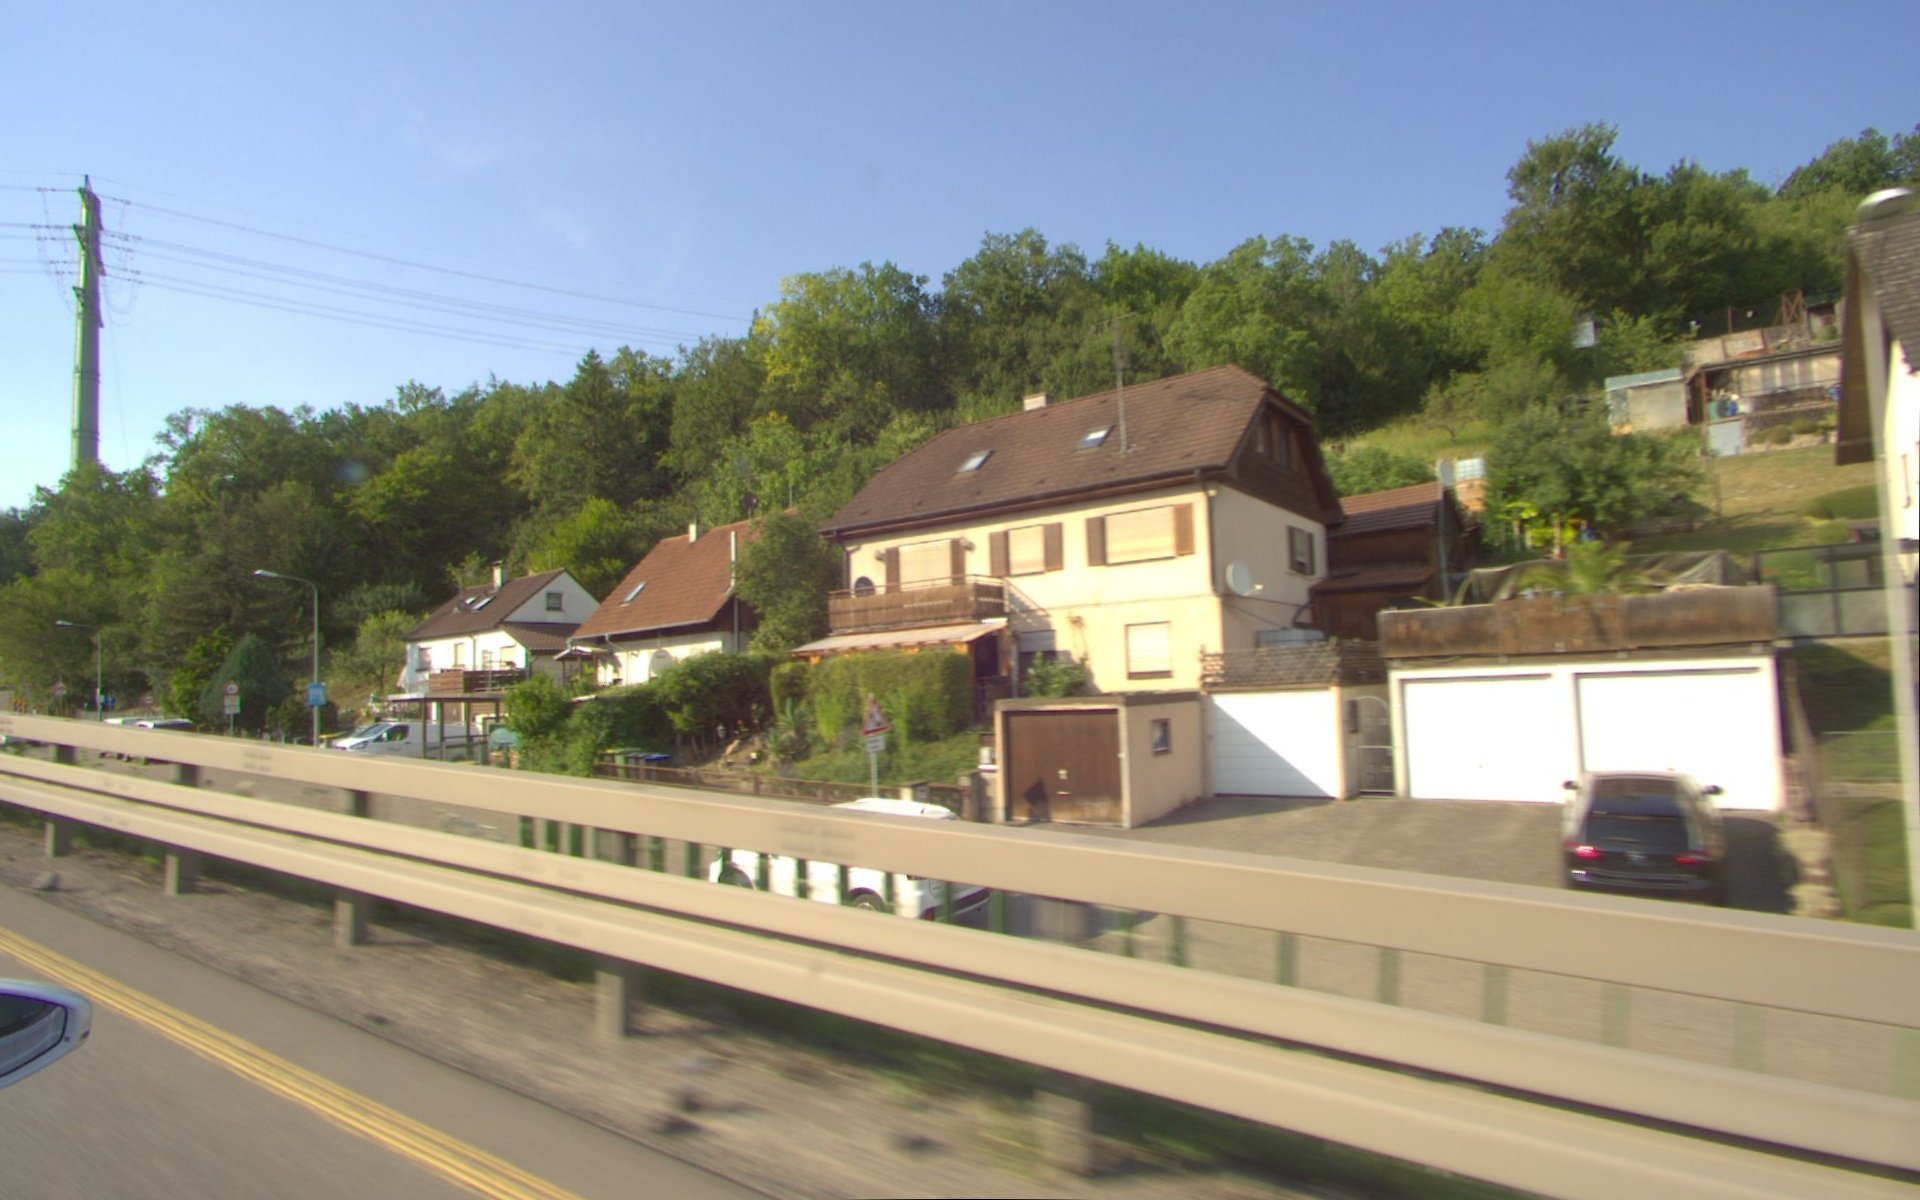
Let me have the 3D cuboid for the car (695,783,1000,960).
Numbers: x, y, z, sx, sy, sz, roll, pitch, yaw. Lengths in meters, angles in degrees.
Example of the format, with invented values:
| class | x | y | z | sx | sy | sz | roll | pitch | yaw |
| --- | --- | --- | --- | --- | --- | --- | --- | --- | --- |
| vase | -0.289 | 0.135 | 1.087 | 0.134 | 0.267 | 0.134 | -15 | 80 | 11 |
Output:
| class | x | y | z | sx | sy | sz | roll | pitch | yaw |
| --- | --- | --- | --- | --- | --- | --- | --- | --- | --- |
| car | -1.719 | 3.713 | 14.365 | 4.416 | 1.682 | 1.662 | -3 | -3 | 37 |

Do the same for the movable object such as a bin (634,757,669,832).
| class | x | y | z | sx | sy | sz | roll | pitch | yaw |
| --- | --- | --- | --- | --- | --- | --- | --- | --- | --- |
| movable object such as a bin | -7.759 | 4.888 | 25.169 | 0.409 | 1.787 | 0.488 | -3 | -12 | 41 |

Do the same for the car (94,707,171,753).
| class | x | y | z | sx | sy | sz | roll | pitch | yaw |
| --- | --- | --- | --- | --- | --- | --- | --- | --- | --- |
| car | -41.362 | 6.427 | 50.025 | 4.990 | 2.011 | 1.856 | -4 | -3 | 37 |

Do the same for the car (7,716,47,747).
| class | x | y | z | sx | sy | sz | roll | pitch | yaw |
| --- | --- | --- | --- | --- | --- | --- | --- | --- | --- |
| car | -56.421 | 7.907 | 60.520 | 4.222 | 1.479 | 1.517 | -2 | -2 | 43 |

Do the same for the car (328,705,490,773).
| class | x | y | z | sx | sy | sz | roll | pitch | yaw |
| --- | --- | --- | --- | --- | --- | --- | --- | --- | --- |
| car | -22.238 | 5.564 | 40.684 | 1.974 | 2.291 | 5.452 | -3 | -4 | 36 |

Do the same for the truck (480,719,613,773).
| class | x | y | z | sx | sy | sz | roll | pitch | yaw |
| --- | --- | --- | --- | --- | --- | --- | --- | --- | --- |
| truck | -14.270 | 5.075 | 34.783 | 3.928 | 1.756 | 2.003 | 2 | -8 | -14 |

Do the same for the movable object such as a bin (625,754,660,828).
| class | x | y | z | sx | sy | sz | roll | pitch | yaw |
| --- | --- | --- | --- | --- | --- | --- | --- | --- | --- |
| movable object such as a bin | -8.075 | 4.853 | 25.461 | 0.409 | 1.787 | 0.488 | -3 | -12 | 41 |

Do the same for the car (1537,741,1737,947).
| class | x | y | z | sx | sy | sz | roll | pitch | yaw |
| --- | --- | --- | --- | --- | --- | --- | --- | --- | --- |
| car | 9.624 | 3.200 | 14.133 | 1.976 | 1.546 | 4.473 | -4 | 2 | 37 |

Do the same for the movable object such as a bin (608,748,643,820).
| class | x | y | z | sx | sy | sz | roll | pitch | yaw |
| --- | --- | --- | --- | --- | --- | --- | --- | --- | --- |
| movable object such as a bin | -8.693 | 4.775 | 26.040 | 0.404 | 1.787 | 0.534 | -3 | -12 | 41 |

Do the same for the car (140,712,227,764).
| class | x | y | z | sx | sy | sz | roll | pitch | yaw |
| --- | --- | --- | --- | --- | --- | --- | --- | --- | --- |
| car | -34.042 | 5.975 | 43.853 | 4.807 | 1.941 | 1.987 | -4 | -3 | 39 |

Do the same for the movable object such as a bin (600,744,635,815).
| class | x | y | z | sx | sy | sz | roll | pitch | yaw |
| --- | --- | --- | --- | --- | --- | --- | --- | --- | --- |
| movable object such as a bin | -9.000 | 4.714 | 26.341 | 0.411 | 1.787 | 0.528 | -3 | -12 | 41 |

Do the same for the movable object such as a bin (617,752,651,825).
| class | x | y | z | sx | sy | sz | roll | pitch | yaw |
| --- | --- | --- | --- | --- | --- | --- | --- | --- | --- |
| movable object such as a bin | -8.384 | 4.841 | 25.764 | 0.409 | 1.787 | 0.488 | -3 | -12 | 41 |

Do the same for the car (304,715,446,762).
| class | x | y | z | sx | sy | sz | roll | pitch | yaw |
| --- | --- | --- | --- | --- | --- | --- | --- | --- | --- |
| car | -25.131 | 5.932 | 43.227 | 1.694 | 1.575 | 5.077 | -3 | -4 | 36 |
